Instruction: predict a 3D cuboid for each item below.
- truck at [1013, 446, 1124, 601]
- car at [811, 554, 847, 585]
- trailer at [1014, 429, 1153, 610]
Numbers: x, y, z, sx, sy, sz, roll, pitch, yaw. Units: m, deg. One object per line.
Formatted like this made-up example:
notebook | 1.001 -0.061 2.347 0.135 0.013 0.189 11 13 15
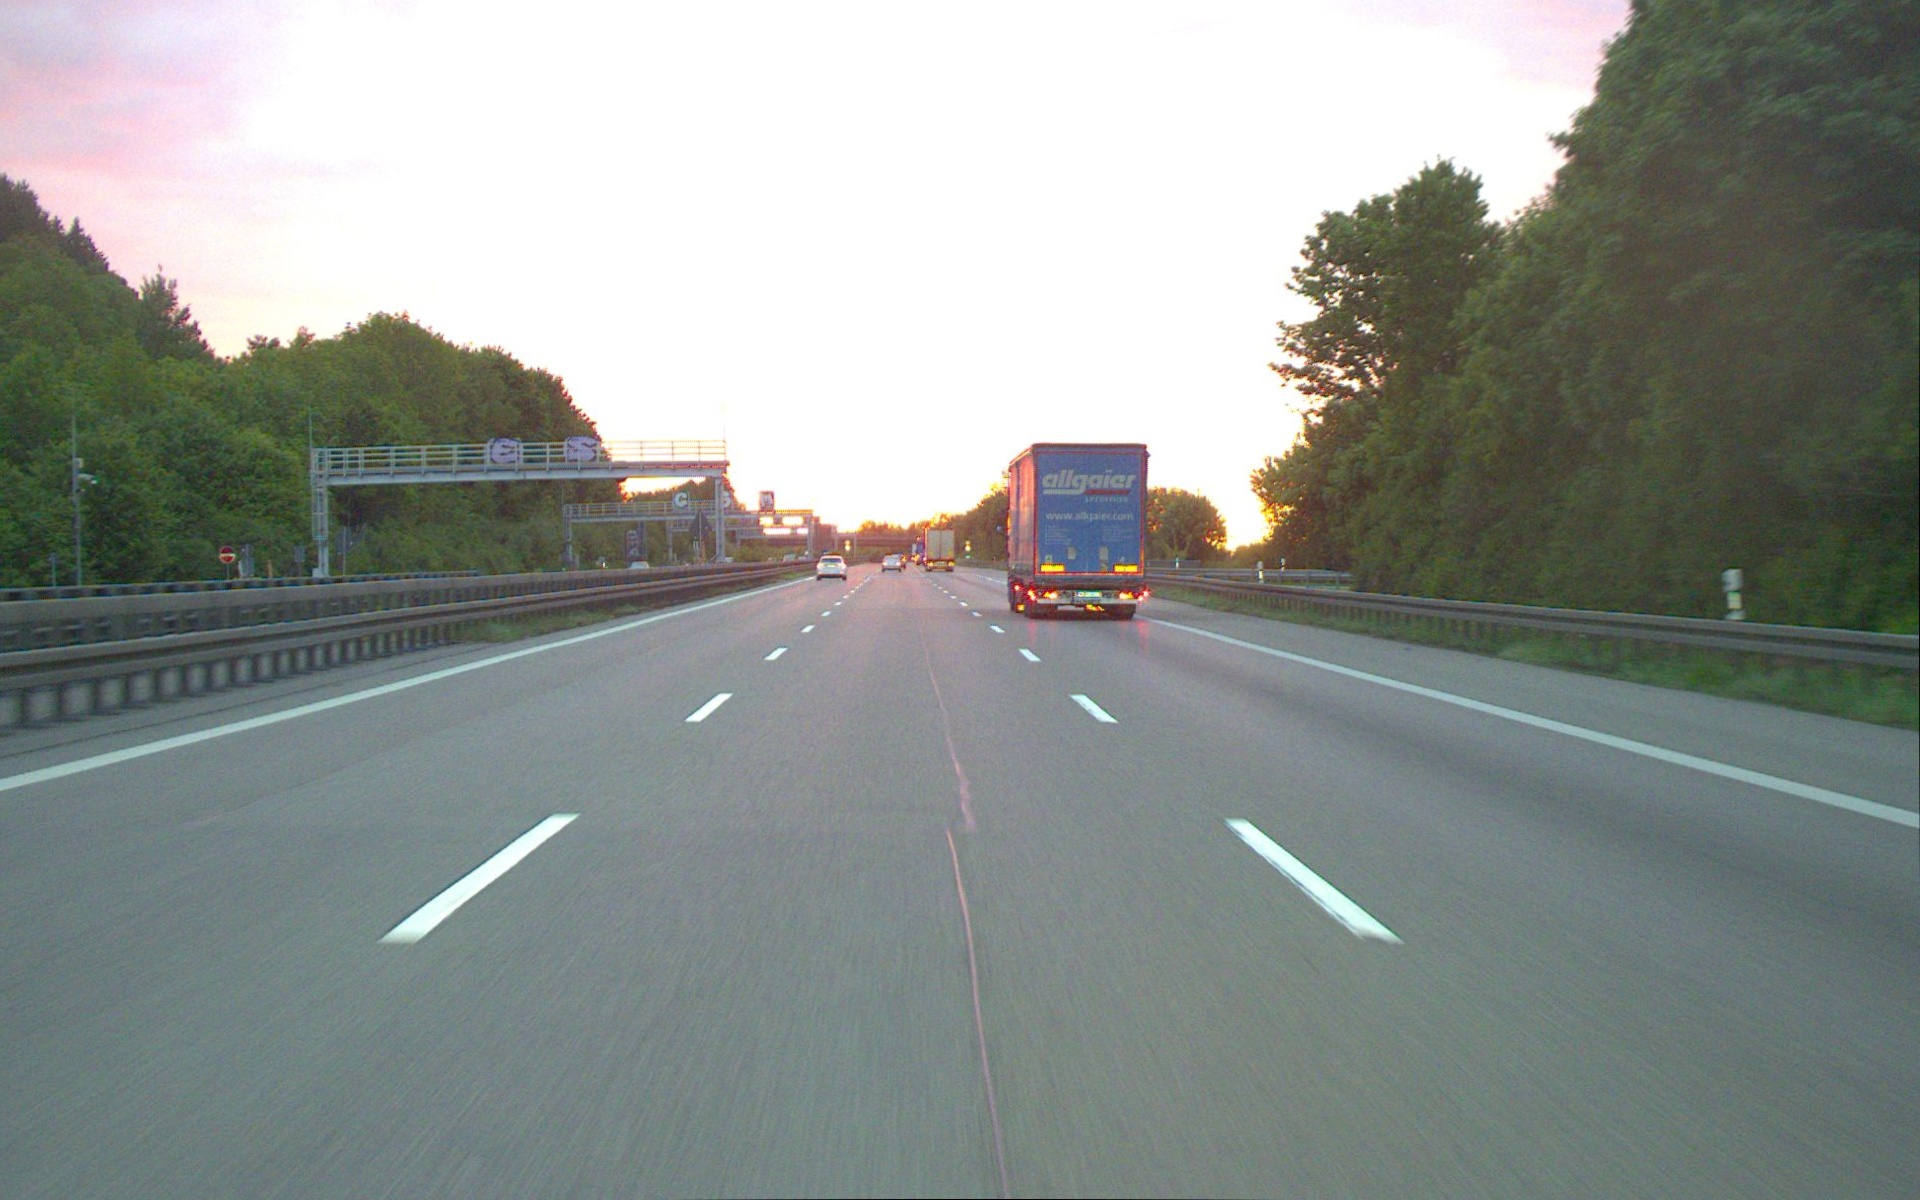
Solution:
truck | 2.835 -2.008 91.452 2.736 3.983 5.849 0 1 0
car | -7.822 -1.828 205.261 2.013 1.743 3.903 -4 1 -1
trailer | 2.902 -1.917 84.669 2.771 4.072 13.740 0 1 -1
